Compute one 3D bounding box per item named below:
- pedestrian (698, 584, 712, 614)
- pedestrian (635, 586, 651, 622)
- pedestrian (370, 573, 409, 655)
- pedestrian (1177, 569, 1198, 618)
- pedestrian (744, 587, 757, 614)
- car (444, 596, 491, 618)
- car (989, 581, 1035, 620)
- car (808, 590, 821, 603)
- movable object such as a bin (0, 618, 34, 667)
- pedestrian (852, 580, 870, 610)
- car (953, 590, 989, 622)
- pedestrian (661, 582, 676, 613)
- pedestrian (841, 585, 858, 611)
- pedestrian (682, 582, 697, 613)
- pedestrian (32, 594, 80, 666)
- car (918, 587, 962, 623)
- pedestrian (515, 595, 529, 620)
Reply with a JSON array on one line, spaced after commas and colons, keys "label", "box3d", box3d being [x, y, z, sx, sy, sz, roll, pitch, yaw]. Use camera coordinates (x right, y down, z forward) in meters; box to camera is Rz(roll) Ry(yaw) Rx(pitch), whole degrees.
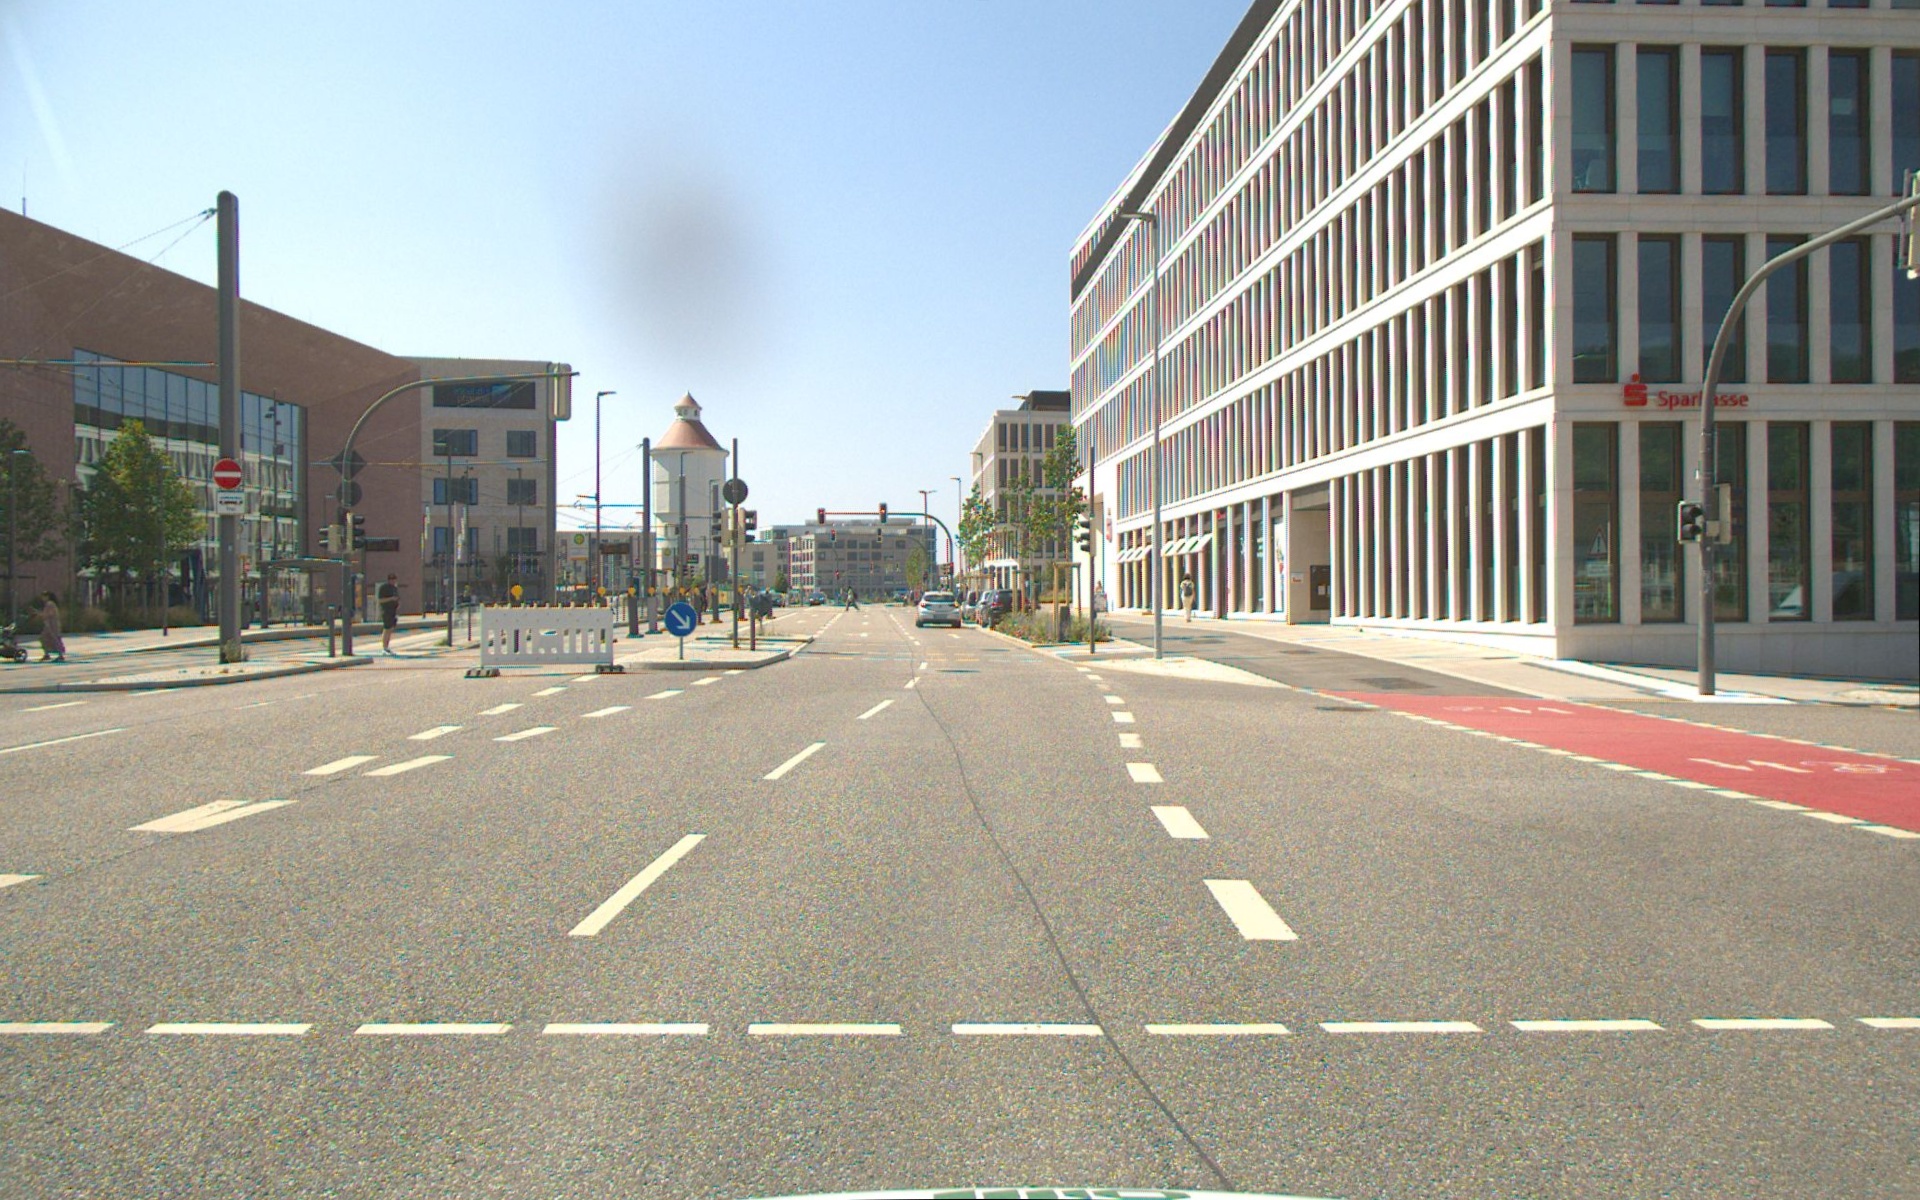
[{"label": "pedestrian", "box3d": [-16.406, -0.061, 106.401, 0.751, 1.923, 0.691, -1, 0, -2]}, {"label": "pedestrian", "box3d": [-16.441, 0.202, 85.868, 0.654, 1.852, 0.717, 1, 0, -26]}, {"label": "pedestrian", "box3d": [-13.115, 0.311, 38.022, 0.639, 1.865, 0.661, 1, 0, 1]}, {"label": "pedestrian", "box3d": [8.311, -0.231, 60.368, 0.615, 1.773, 0.813, -1, 0, -3]}, {"label": "pedestrian", "box3d": [-13.813, 0.027, 108.882, 0.751, 1.764, 0.691, -1, 0, -2]}, {"label": "car", "box3d": [-42.972, 0.611, 144.371, 3.876, 1.848, 1.791, 0, -1, -15]}, {"label": "car", "box3d": [2.002, 0.021, 65.055, 1.701, 1.500, 3.980, 0, 0, 0]}, {"label": "car", "box3d": [-18.805, -0.468, 213.852, 1.555, 1.557, 3.689, 0, -1, -4]}, {"label": "movable object such as a bin", "box3d": [-21.037, 0.943, 36.793, 0.704, 1.050, 0.787, 0, 0, -27]}, {"label": "pedestrian", "box3d": [-6.780, -0.329, 112.999, 1.006, 2.049, 0.948, -1, 0, -22]}, {"label": "car", "box3d": [0.500, 0.279, 80.413, 1.525, 1.498, 3.468, -1, 0, -3]}, {"label": "pedestrian", "box3d": [-18.075, -0.168, 102.458, 0.871, 1.923, 0.690, -1, 0, -8]}, {"label": "pedestrian", "box3d": [-7.490, -0.139, 112.201, 0.881, 1.703, 1.007, -1, 0, -21]}, {"label": "pedestrian", "box3d": [-16.884, -0.160, 103.254, 0.871, 1.923, 0.690, -1, 0, -8]}, {"label": "pedestrian", "box3d": [-20.306, 0.661, 37.162, 0.918, 1.590, 0.787, 0, 0, -27]}, {"label": "car", "box3d": [-0.831, 0.228, 67.758, 1.736, 1.419, 3.530, 1, -1, -1]}, {"label": "pedestrian", "box3d": [-28.721, 0.471, 108.423, 0.697, 1.599, 0.890, -1, 0, -4]}]
